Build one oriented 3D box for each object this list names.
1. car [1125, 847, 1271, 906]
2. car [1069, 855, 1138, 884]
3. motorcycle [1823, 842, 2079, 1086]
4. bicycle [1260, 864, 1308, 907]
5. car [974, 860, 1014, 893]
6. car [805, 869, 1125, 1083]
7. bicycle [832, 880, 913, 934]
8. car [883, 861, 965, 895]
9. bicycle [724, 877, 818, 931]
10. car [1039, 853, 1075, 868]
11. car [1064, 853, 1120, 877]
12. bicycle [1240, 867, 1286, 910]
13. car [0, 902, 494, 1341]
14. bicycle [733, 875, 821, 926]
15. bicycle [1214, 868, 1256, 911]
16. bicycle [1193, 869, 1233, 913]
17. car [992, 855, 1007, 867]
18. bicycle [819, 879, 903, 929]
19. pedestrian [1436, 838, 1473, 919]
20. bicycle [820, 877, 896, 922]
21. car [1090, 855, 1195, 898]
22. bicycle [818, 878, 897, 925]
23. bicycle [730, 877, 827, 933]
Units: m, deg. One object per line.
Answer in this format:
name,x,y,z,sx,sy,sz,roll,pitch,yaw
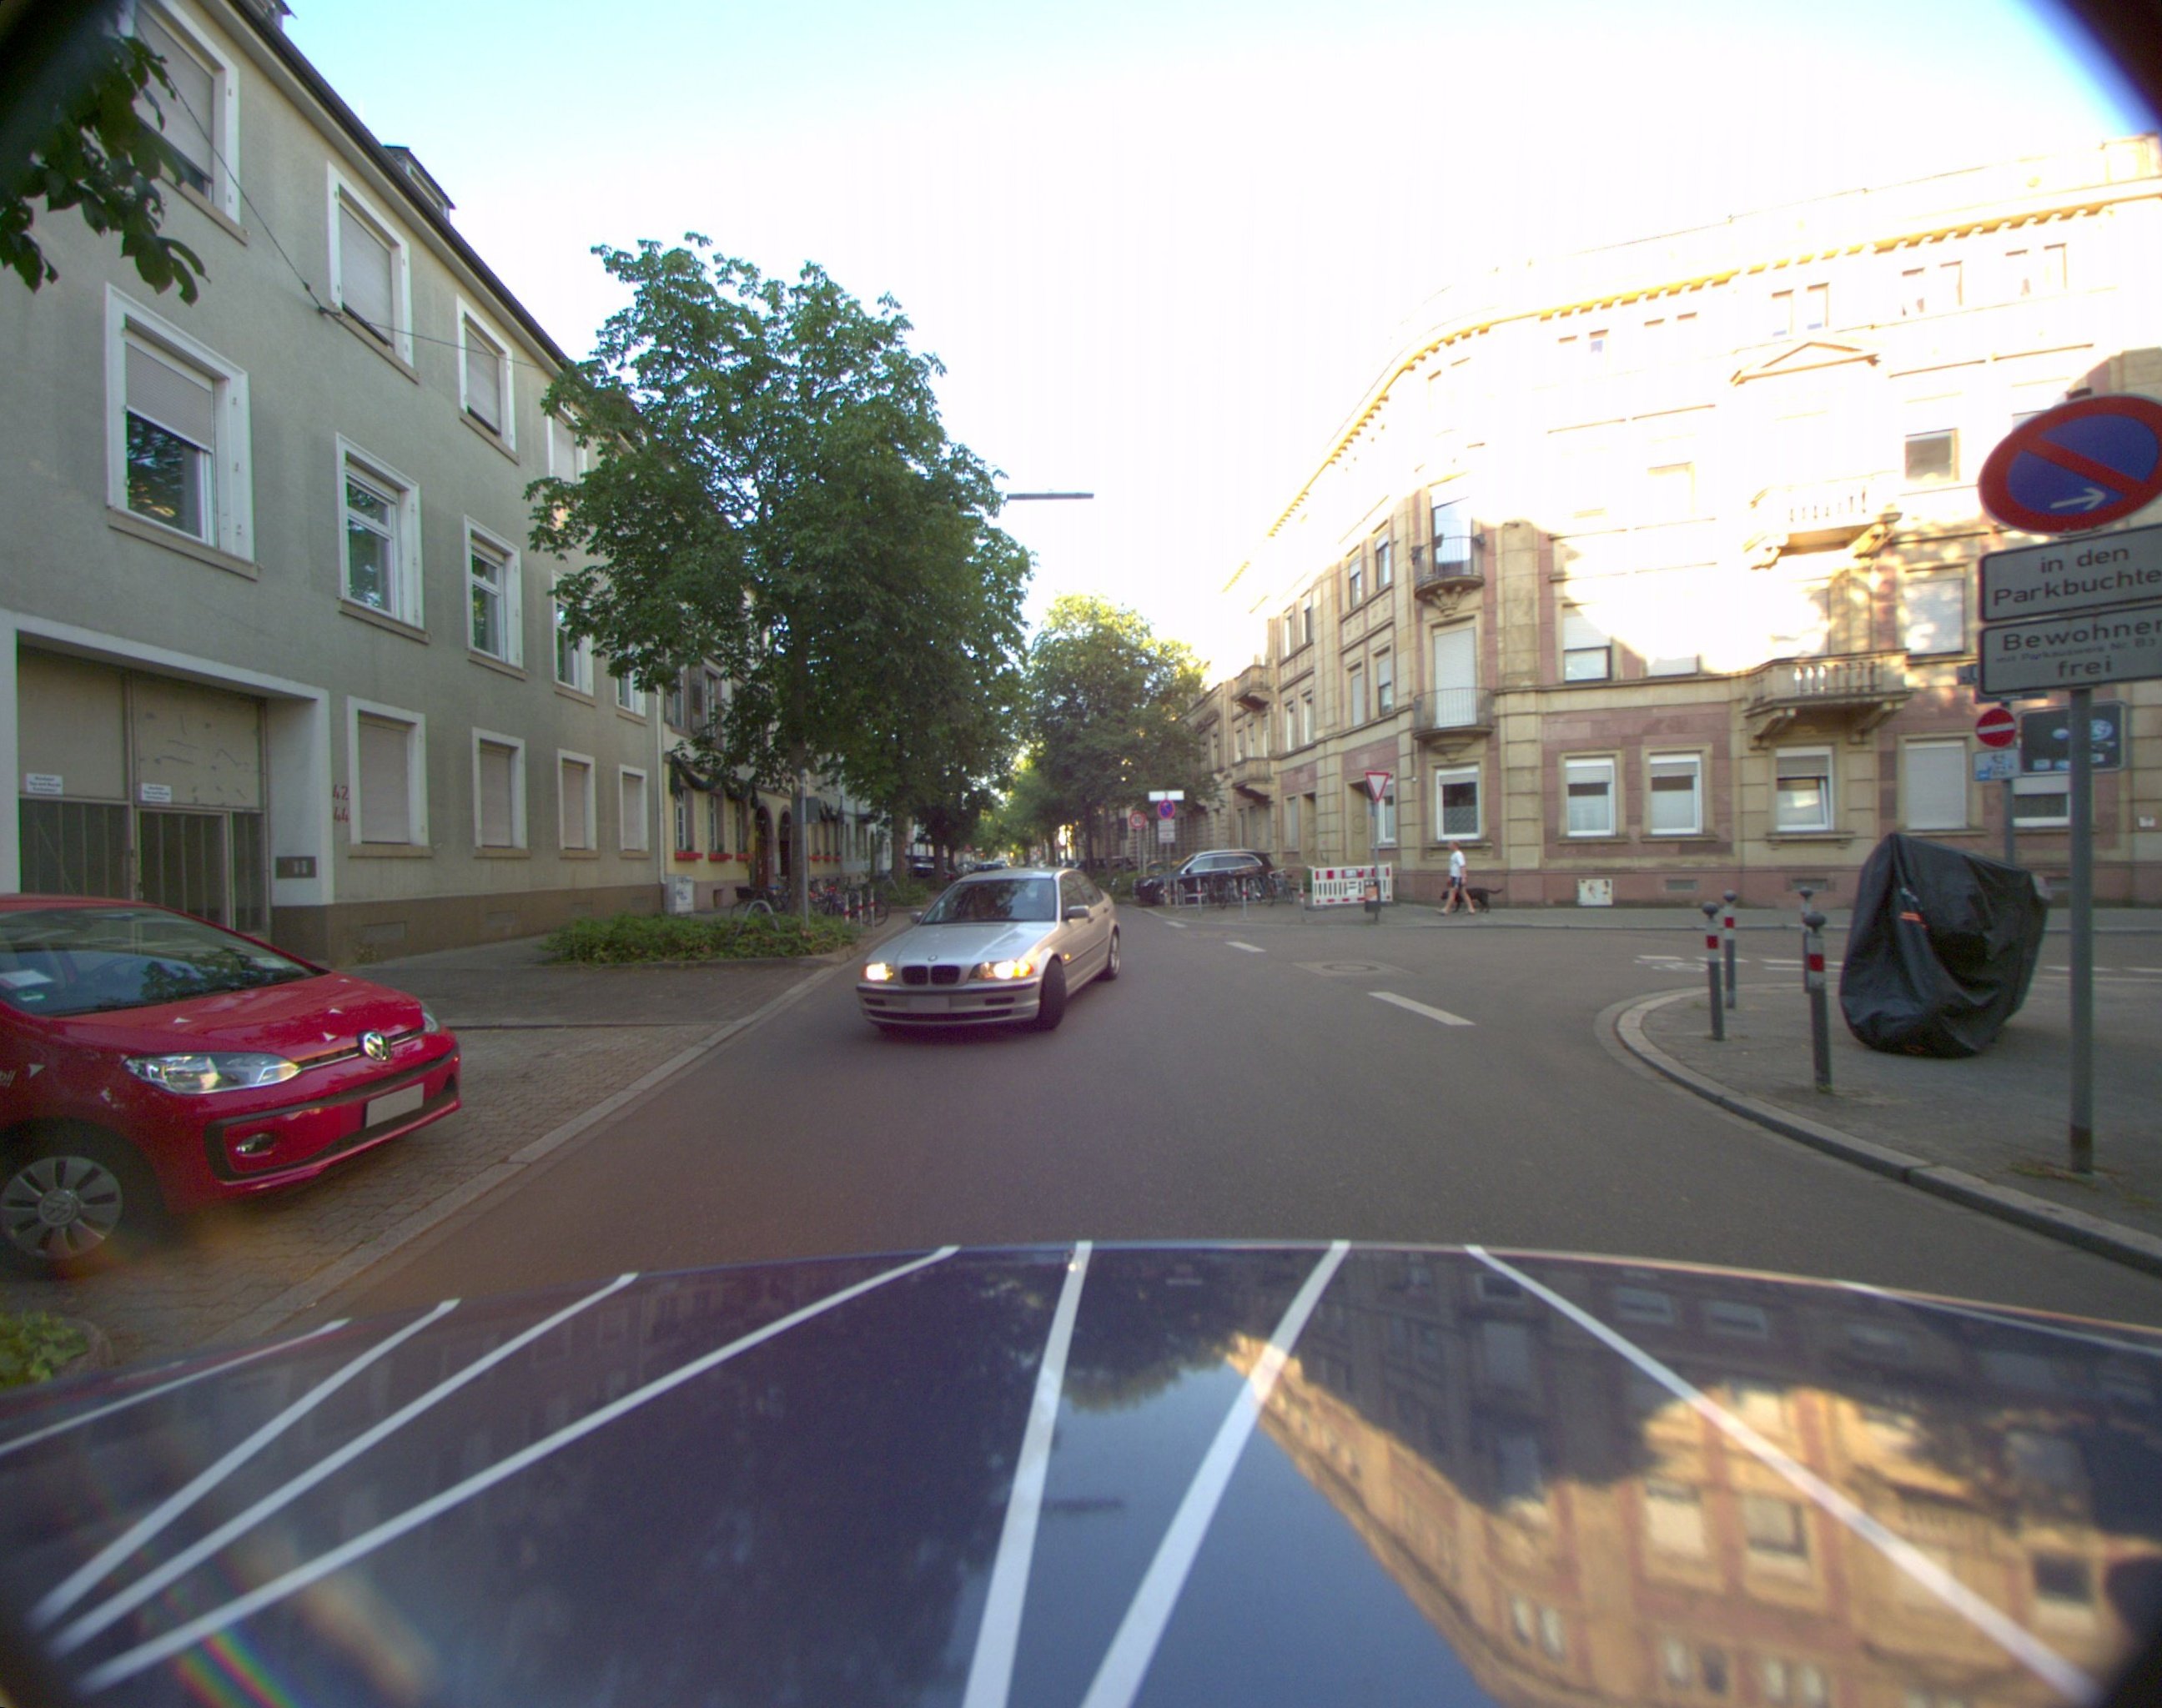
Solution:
car,3.722,0.704,24.646,4.423,1.771,1.742,-1,0,-1
car,1.406,0.960,48.379,4.245,1.749,1.741,-1,0,-5
motorcycle,6.494,0.679,5.636,2.286,1.496,0.816,-1,1,-30
bicycle,5.791,0.880,21.819,0.562,1.144,2.038,-1,0,-8
car,-4.412,1.132,39.092,1.806,1.543,3.998,-1,0,-4
car,-0.779,0.947,7.840,1.709,1.433,4.440,-1,0,13
bicycle,-5.040,1.259,18.397,1.849,1.220,0.535,-1,0,-16
car,-8.558,1.279,41.669,4.245,1.729,1.741,-1,0,-6
bicycle,-7.497,1.185,18.450,2.030,1.220,0.535,-1,0,-16
car,-2.981,0.784,92.536,4.245,1.749,1.741,-1,0,-5
car,0.859,0.869,60.850,4.245,1.749,1.741,-1,0,-5
bicycle,5.173,0.960,21.769,0.562,1.144,2.038,-1,0,-8
car,-5.167,1.046,3.416,3.621,1.468,1.663,-1,0,-7
bicycle,-7.818,1.184,19.596,2.029,1.220,0.535,-1,0,-13
bicycle,4.380,0.983,21.727,0.562,1.144,2.038,-1,0,-6
bicycle,3.741,1.027,21.659,0.562,1.144,2.038,-1,0,-6
car,-10.616,0.897,99.167,1.806,1.543,3.998,-1,0,-5
bicycle,-5.663,1.285,19.637,2.029,1.220,0.535,-1,0,-11
pedestrian,8.387,0.546,17.079,0.650,1.797,0.574,-1,1,18
bicycle,-6.372,1.289,21.788,2.029,1.220,0.535,-1,0,-11
car,2.527,0.916,32.086,4.243,1.668,1.742,-1,0,-1
bicycle,-6.130,1.289,20.918,2.029,1.220,0.535,-1,0,-11
bicycle,-7.037,1.175,17.748,2.030,1.220,0.535,-1,0,-16
